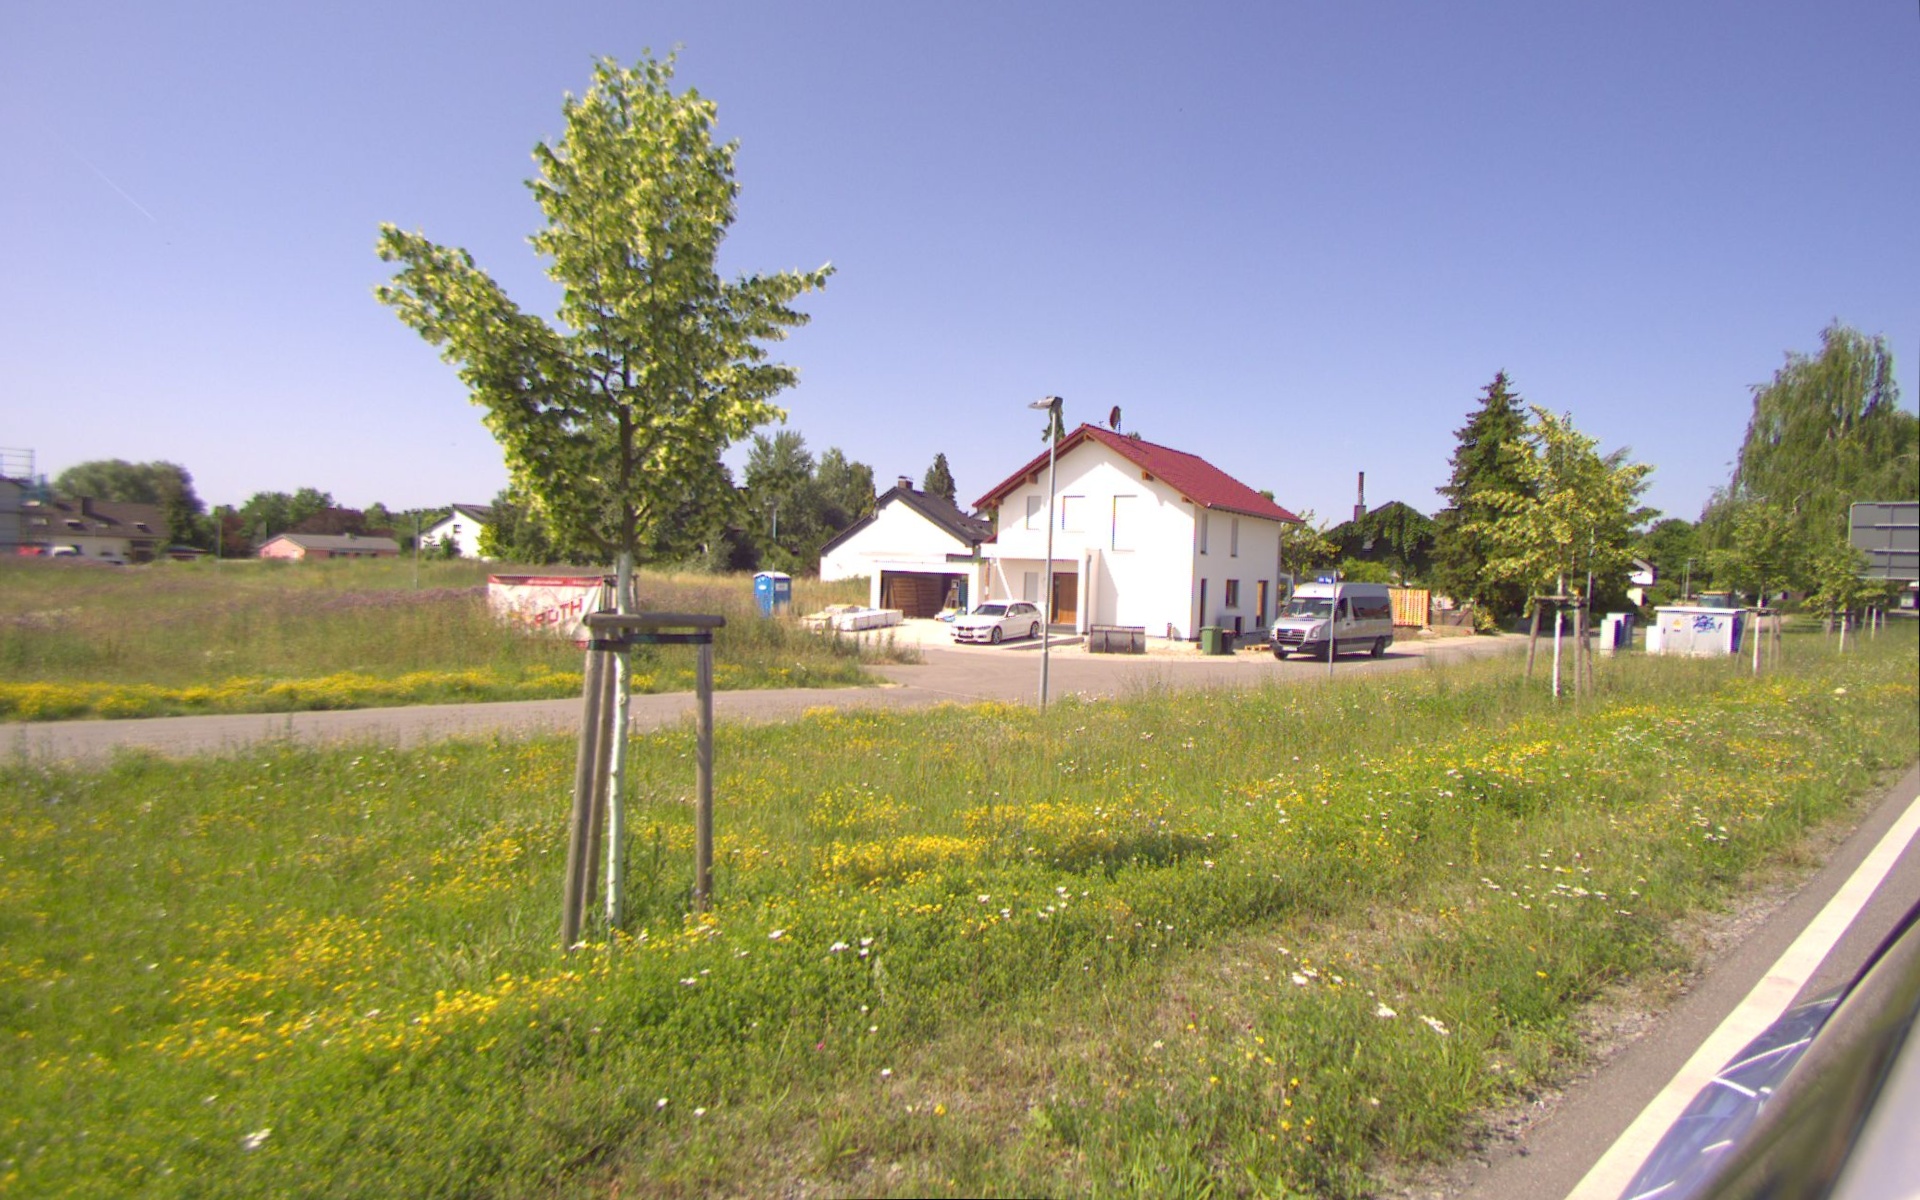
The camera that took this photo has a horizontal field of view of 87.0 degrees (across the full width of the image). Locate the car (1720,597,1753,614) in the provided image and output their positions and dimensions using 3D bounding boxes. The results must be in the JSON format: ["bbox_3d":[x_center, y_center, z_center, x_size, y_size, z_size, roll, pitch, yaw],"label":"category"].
[{"bbox_3d":[68.897,0.446,89.811,1.859,1.463,4.102,0,1,44],"label":"car"}]

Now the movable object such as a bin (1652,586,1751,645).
[{"bbox_3d":[33.796,0.627,46.042,6.827,2.493,2.319,0,1,-42],"label":"movable object such as a bin"}]

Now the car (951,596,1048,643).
[{"bbox_3d":[1.530,0.655,37.179,1.552,1.577,4.435,0,1,33],"label":"car"}]

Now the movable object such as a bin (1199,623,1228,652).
[{"bbox_3d":[8.640,1.272,34.472,0.627,0.949,0.694,1,1,-37],"label":"movable object such as a bin"}]

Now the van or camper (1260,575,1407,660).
[{"bbox_3d":[12.790,0.505,34.463,5.927,2.633,2.175,-1,2,-42],"label":"van or camper"}]

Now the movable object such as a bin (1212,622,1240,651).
[{"bbox_3d":[9.175,1.267,34.892,0.627,0.949,0.694,1,1,-37],"label":"movable object such as a bin"}]

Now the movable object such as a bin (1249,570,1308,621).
[{"bbox_3d":[16.903,-0.275,53.876,2.837,2.589,1.779,1,1,15],"label":"movable object such as a bin"}]
